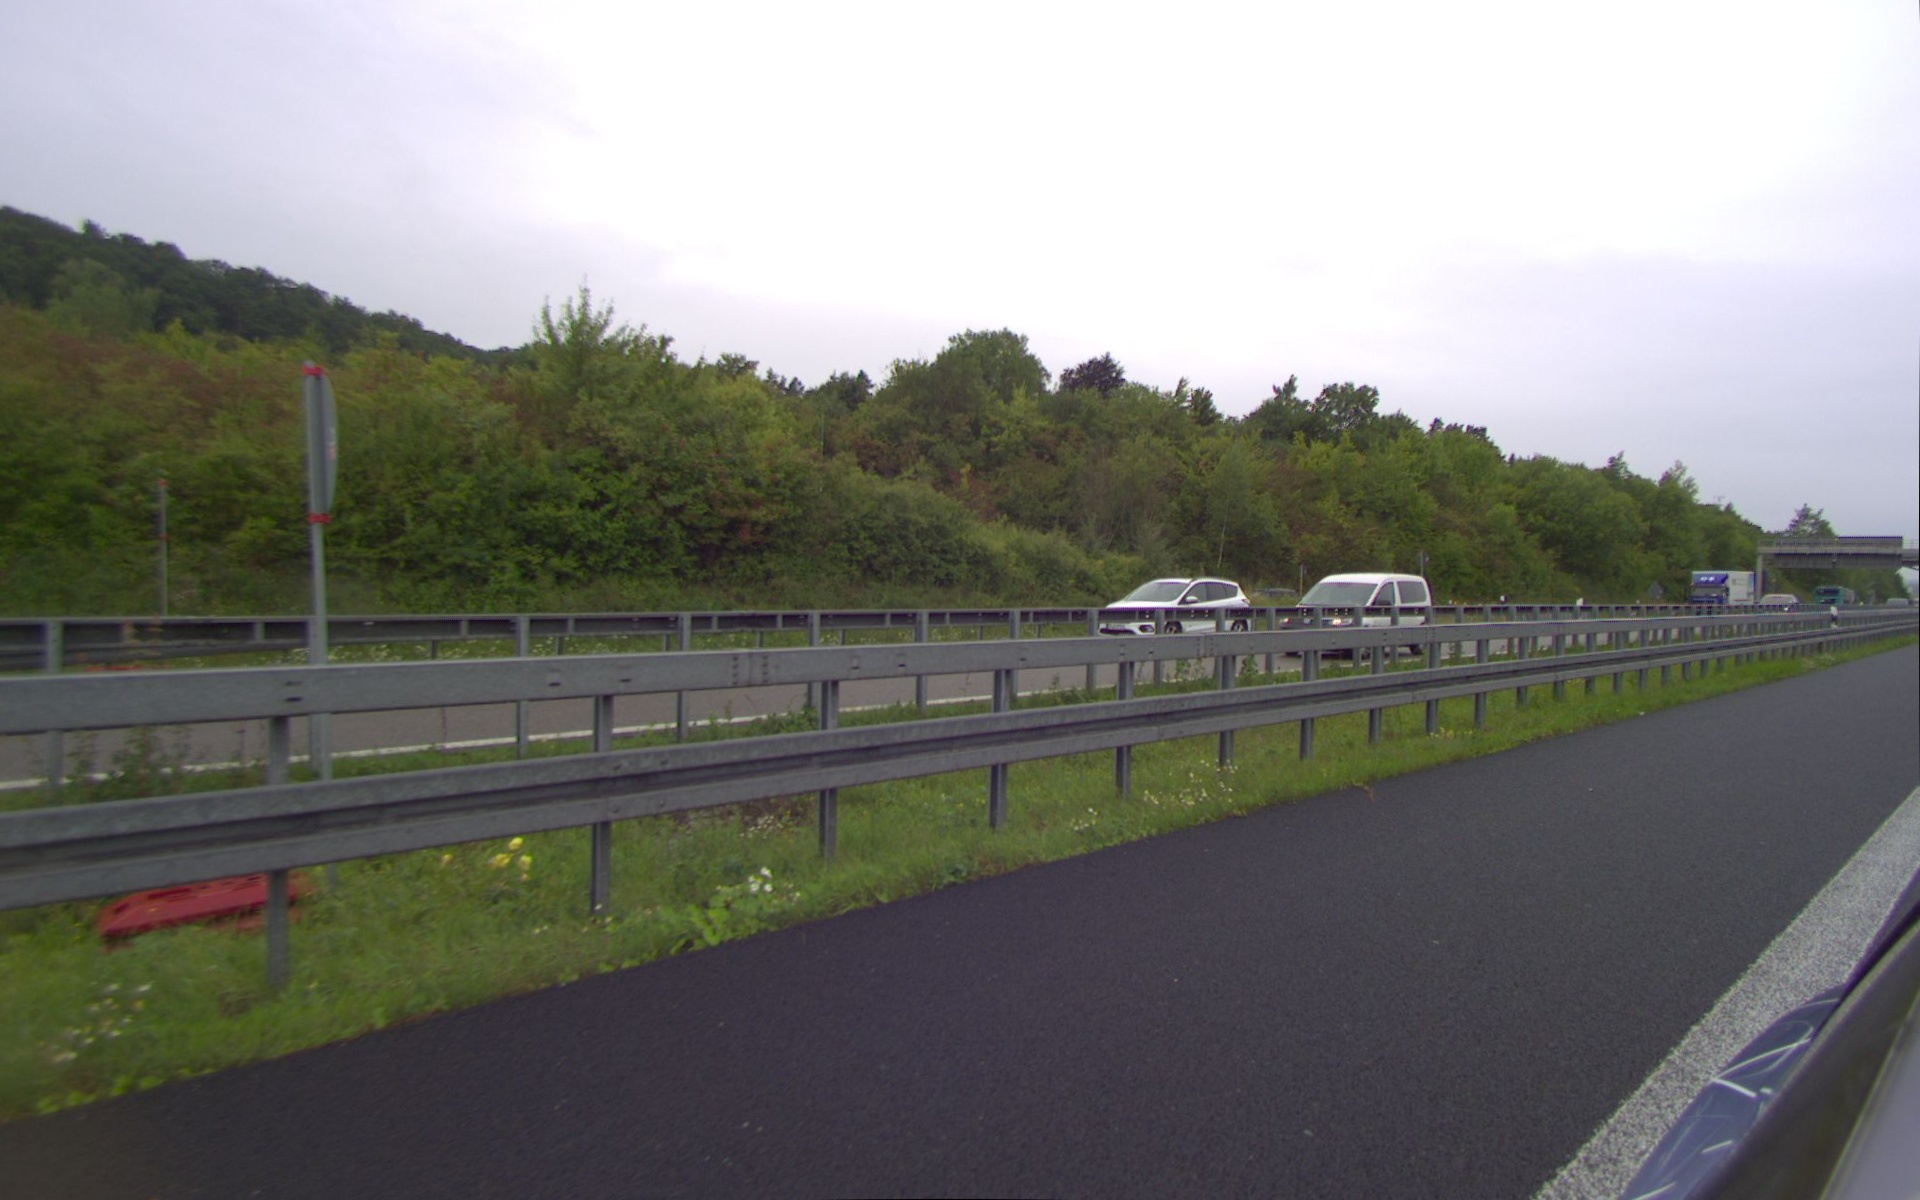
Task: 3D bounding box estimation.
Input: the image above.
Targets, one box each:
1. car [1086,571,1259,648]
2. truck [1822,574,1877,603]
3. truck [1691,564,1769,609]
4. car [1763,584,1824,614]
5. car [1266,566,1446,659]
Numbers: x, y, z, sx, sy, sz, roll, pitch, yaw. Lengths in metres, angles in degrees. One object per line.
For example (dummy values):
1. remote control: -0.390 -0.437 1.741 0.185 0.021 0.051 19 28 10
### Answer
1. car: 4.996 0.165 23.539 4.075 1.633 1.899 0 1 -42
2. truck: 111.323 -1.457 126.604 13.111 3.460 2.908 0 1 -39
3. truck: 61.261 -1.067 80.430 9.117 3.460 2.907 0 1 -40
4. car: 48.337 -0.098 58.691 4.394 1.676 2.011 0 1 -41
5. car: 8.713 0.217 22.108 4.203 1.837 2.010 0 1 -42
